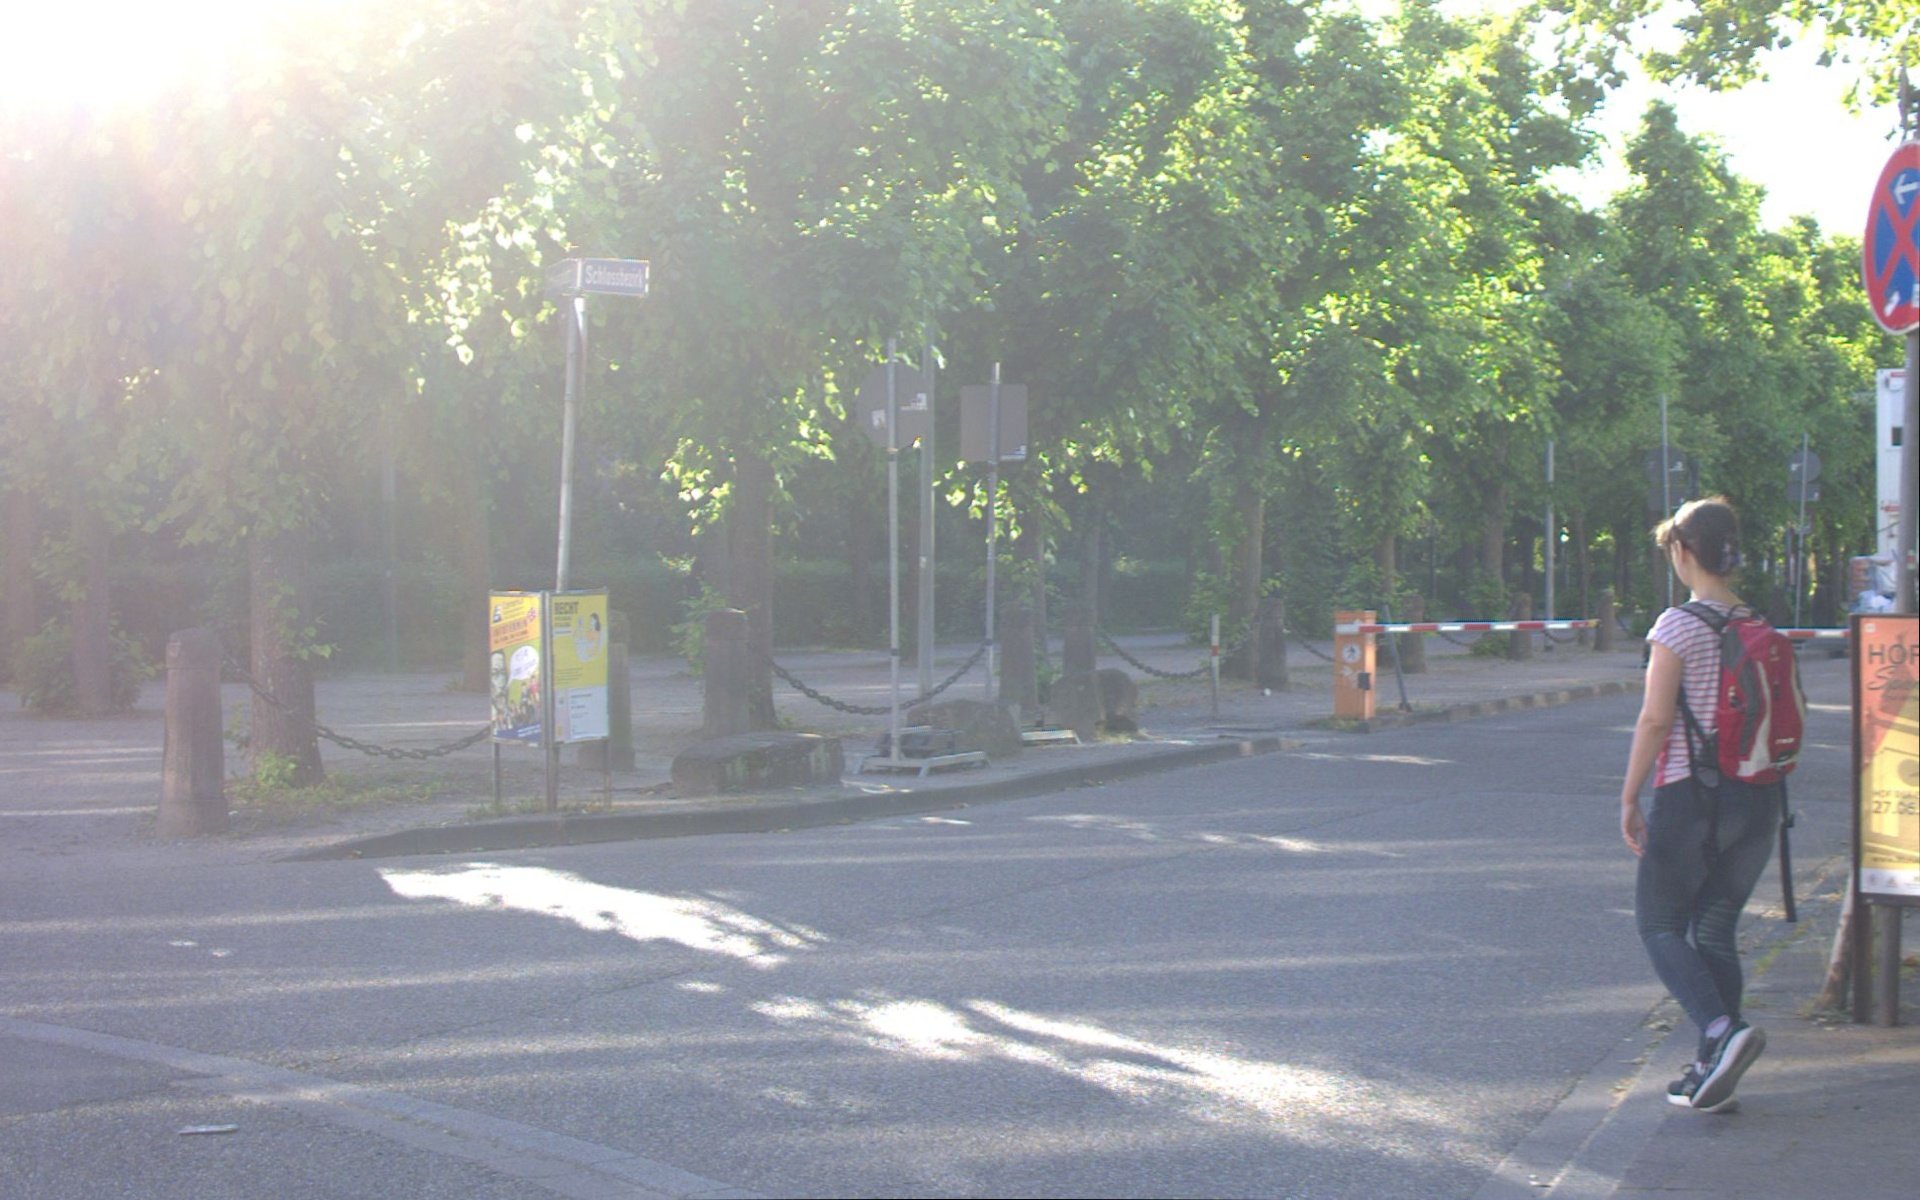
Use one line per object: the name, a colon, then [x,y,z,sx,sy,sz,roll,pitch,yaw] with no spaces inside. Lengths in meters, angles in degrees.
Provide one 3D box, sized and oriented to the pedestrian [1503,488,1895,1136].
pedestrian: [1.933,0.530,9.103,0.708,1.618,0.939,0,0,-10]
